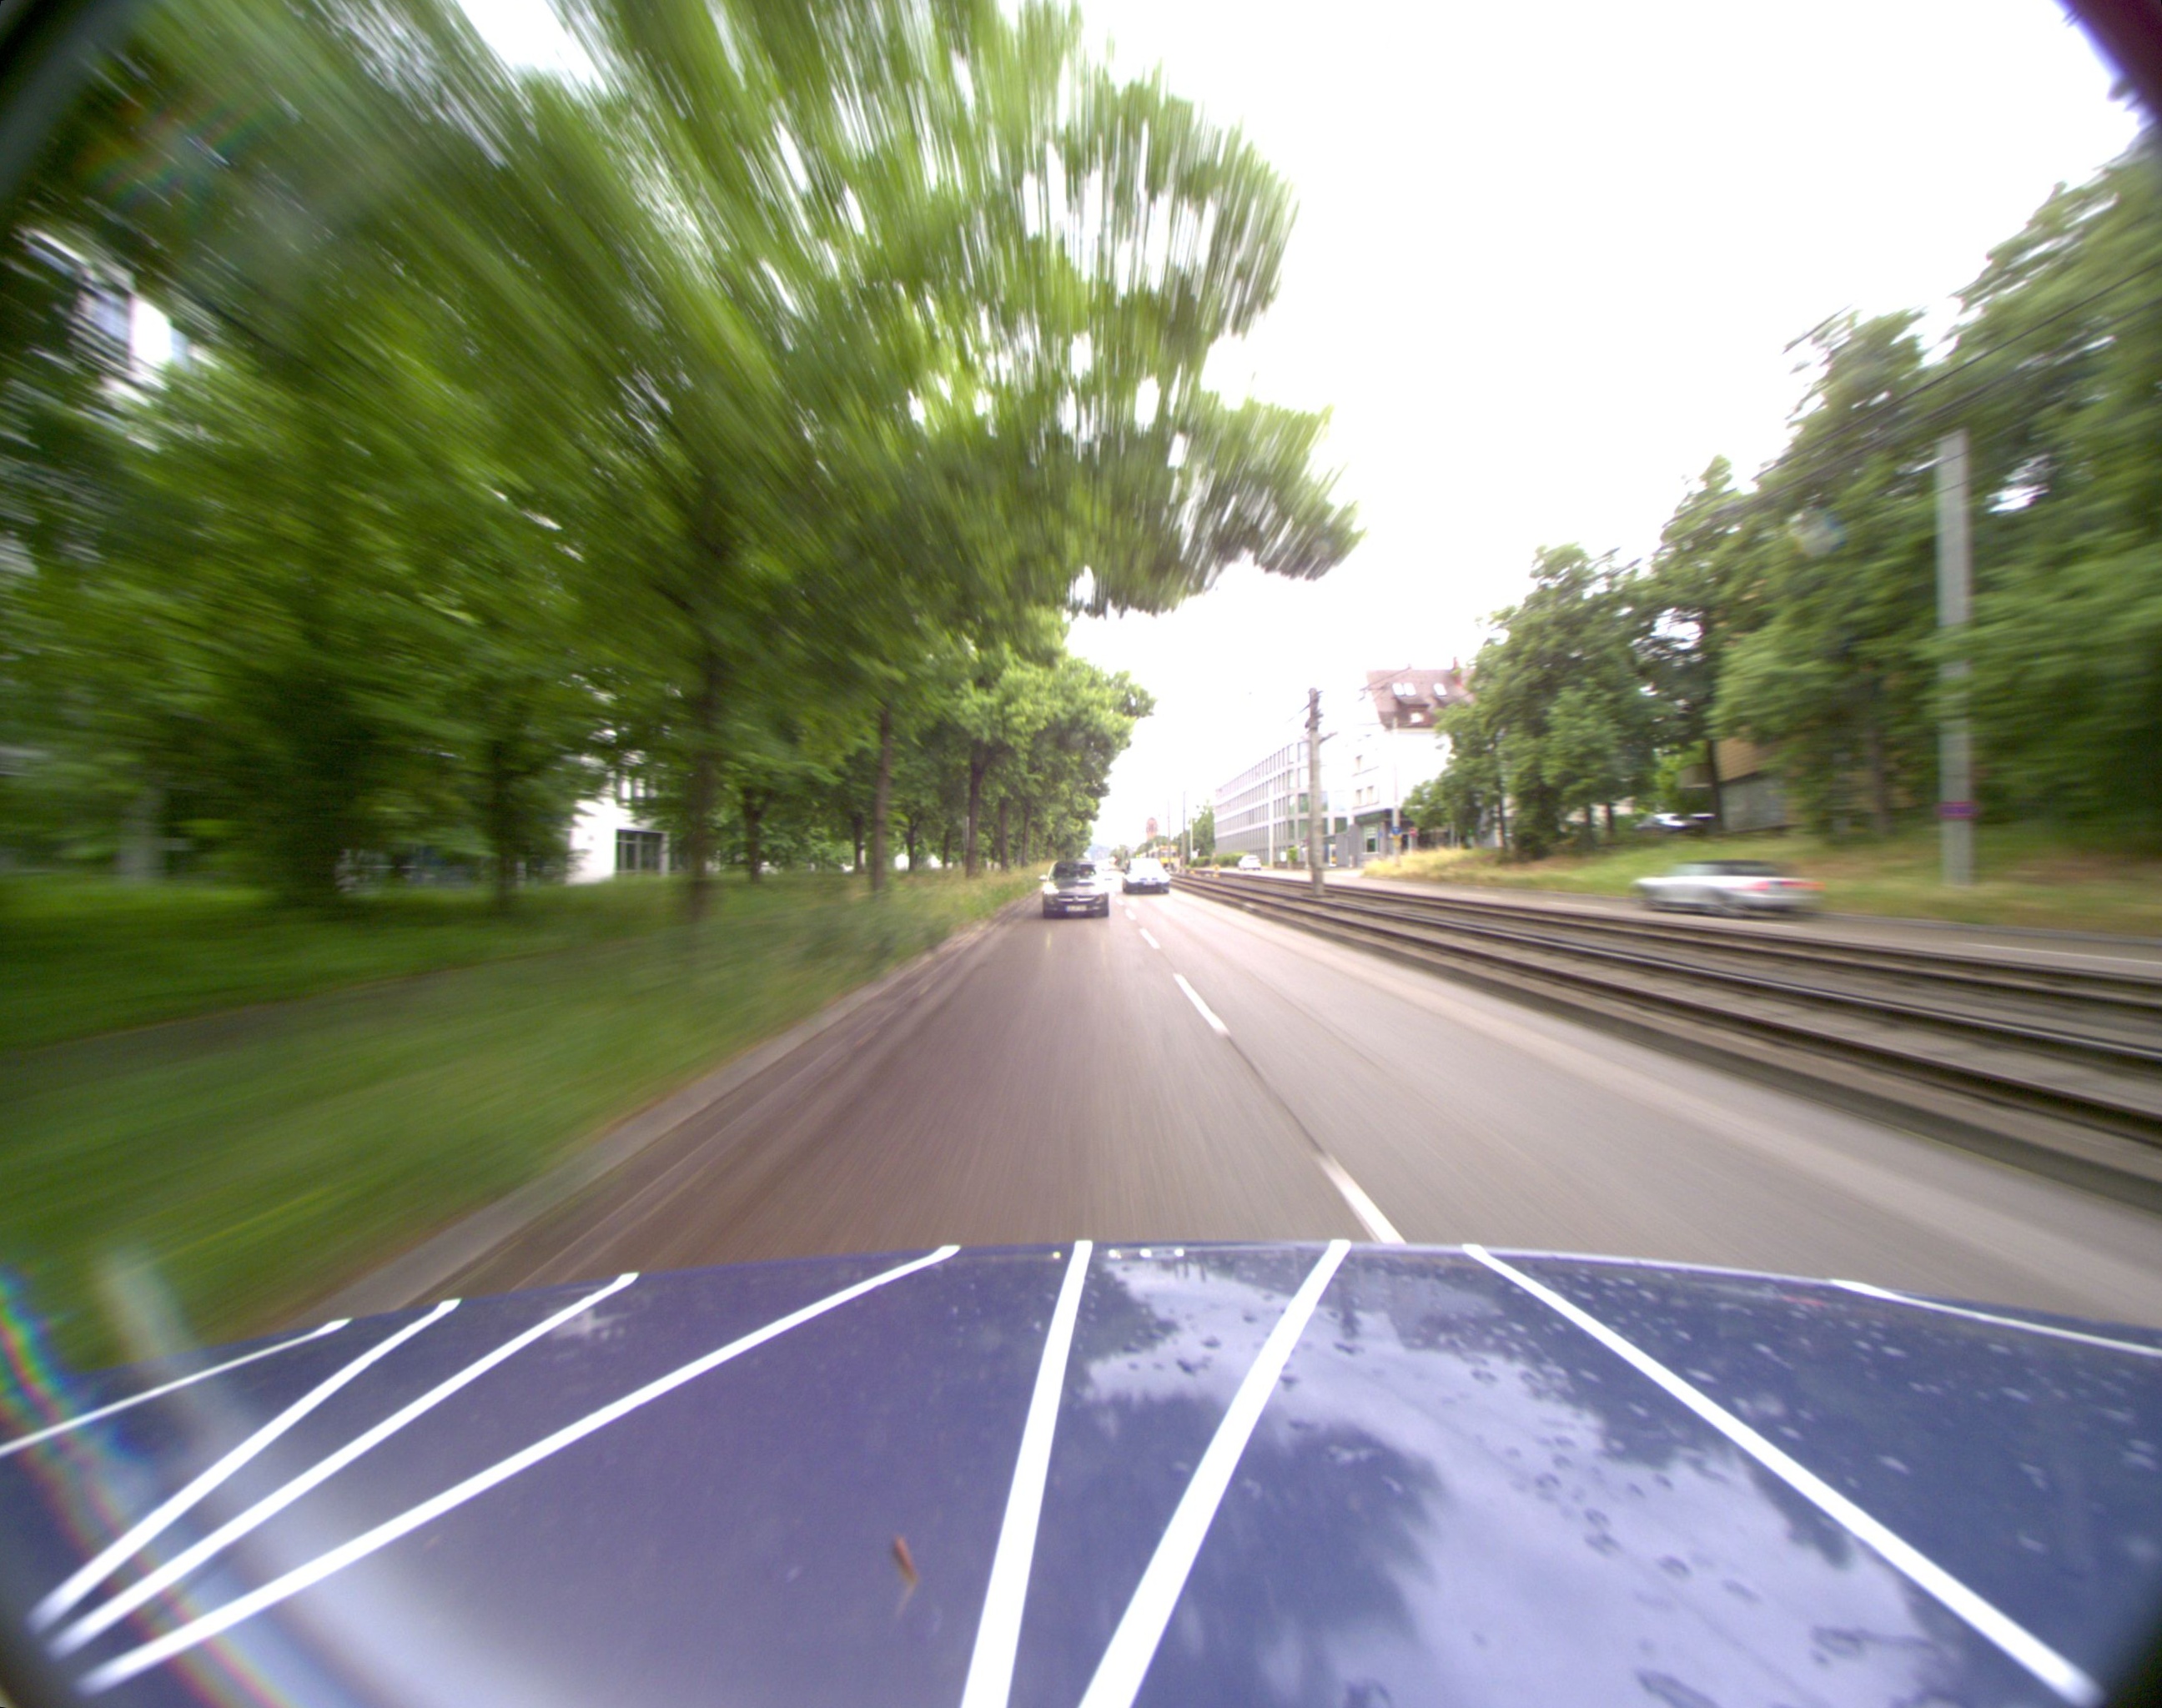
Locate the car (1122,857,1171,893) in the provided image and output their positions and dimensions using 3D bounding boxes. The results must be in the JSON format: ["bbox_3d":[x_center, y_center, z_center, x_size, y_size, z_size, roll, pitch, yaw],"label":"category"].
[{"bbox_3d":[2.742,0.848,32.349,1.770,1.439,3.833,-1,0,1],"label":"car"}]

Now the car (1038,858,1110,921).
[{"bbox_3d":[-0.105,0.892,20.849,1.698,1.439,4.420,-3,0,2],"label":"car"}]

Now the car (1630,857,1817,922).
[{"bbox_3d":[16.209,0.825,19.456,1.480,1.427,3.909,1,0,1],"label":"car"}]

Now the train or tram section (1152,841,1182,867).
[{"bbox_3d":[13.804,0.113,123.474,2.975,3.788,19.522,-1,0,1],"label":"train or tram section"}]

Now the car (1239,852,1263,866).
[{"bbox_3d":[18.405,0.540,82.540,1.657,1.520,4.380,-1,0,1],"label":"car"}]

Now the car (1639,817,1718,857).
[{"bbox_3d":[32.247,-0.874,41.163,1.963,2.002,4.222,-1,0,17],"label":"car"}]
